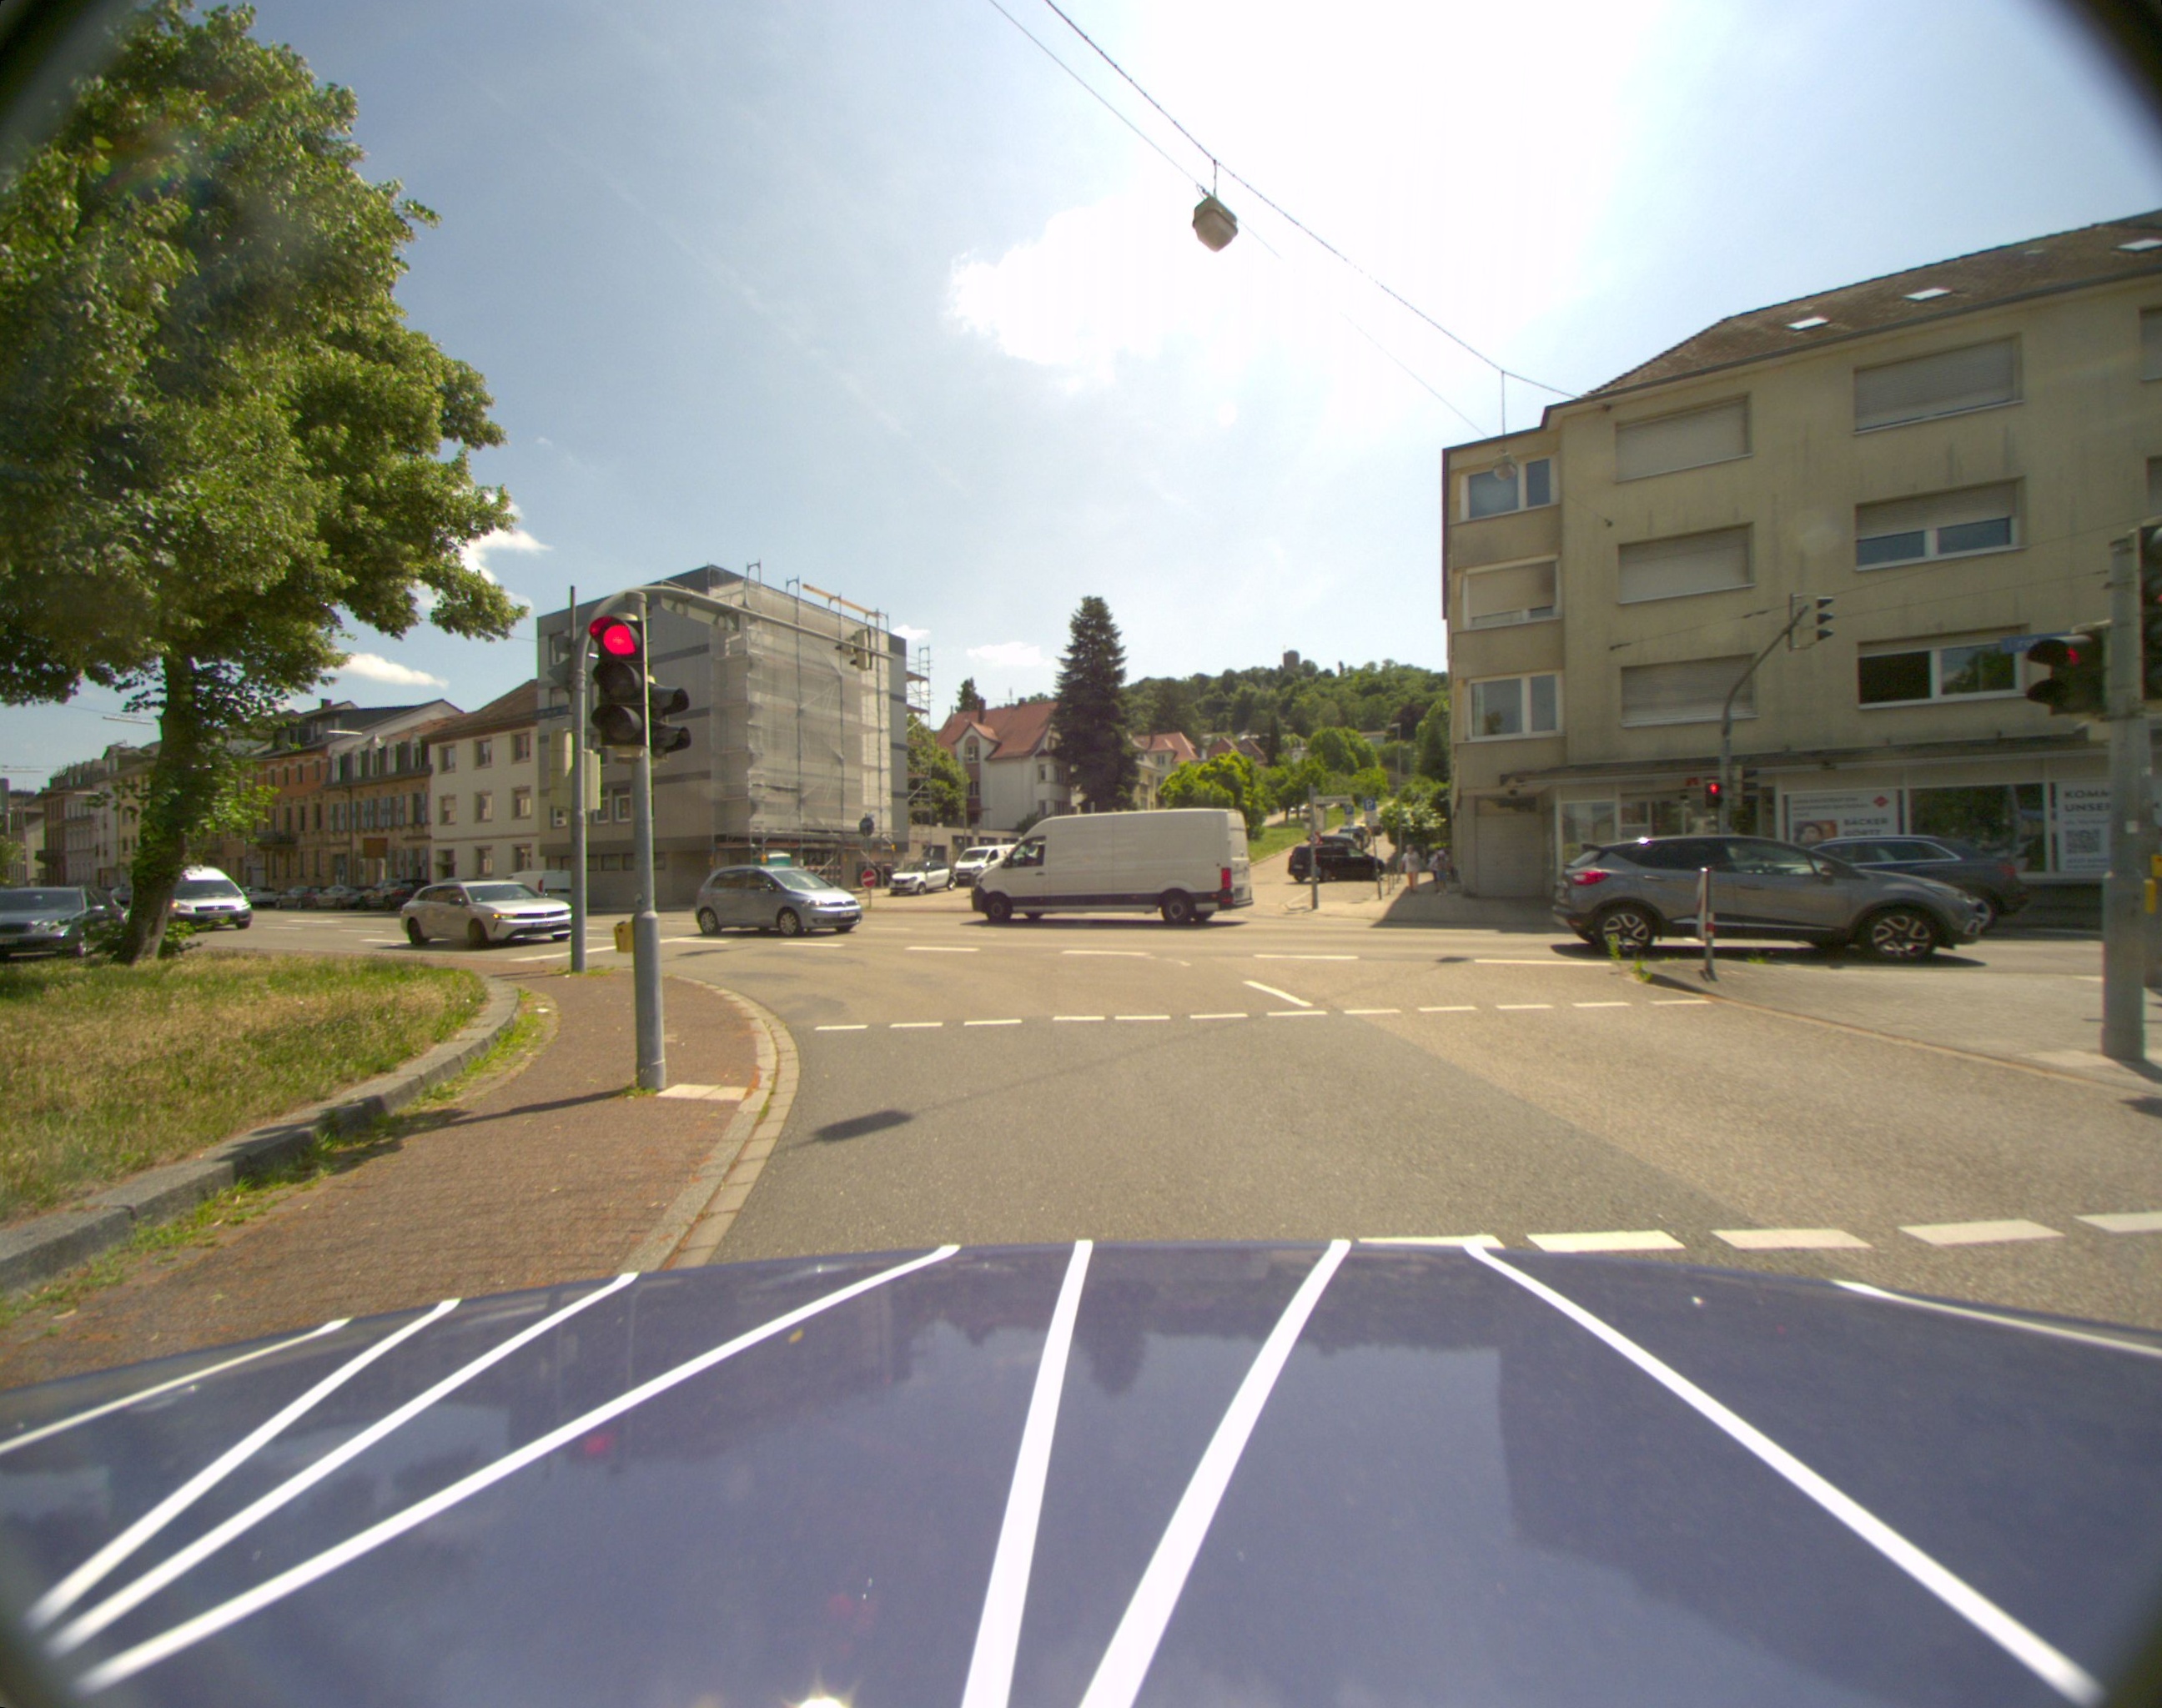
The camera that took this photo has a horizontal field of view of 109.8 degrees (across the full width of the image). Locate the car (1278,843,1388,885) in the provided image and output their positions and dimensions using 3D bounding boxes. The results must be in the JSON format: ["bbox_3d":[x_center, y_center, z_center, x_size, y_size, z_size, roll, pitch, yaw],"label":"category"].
[{"bbox_3d":[11.006,0.415,33.196,4.334,1.654,1.996,-1,0,-24],"label":"car"}]

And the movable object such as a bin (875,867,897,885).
[{"bbox_3d":[-10.281,1.165,40.119,0.824,0.921,0.742,-2,1,29],"label":"movable object such as a bin"}]

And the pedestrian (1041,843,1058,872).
[{"bbox_3d":[-1.939,0.200,46.284,0.741,1.704,0.713,-1,0,30],"label":"pedestrian"}]

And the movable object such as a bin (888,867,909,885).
[{"bbox_3d":[-9.524,1.156,39.727,0.702,0.921,0.742,-2,1,29],"label":"movable object such as a bin"}]

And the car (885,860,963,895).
[{"bbox_3d":[-7.458,1.095,36.500,1.754,1.439,3.745,-2,1,24],"label":"car"}]

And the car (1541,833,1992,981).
[{"bbox_3d":[8.479,0.623,9.916,3.990,1.622,1.762,-2,1,23],"label":"car"}]

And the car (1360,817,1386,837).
[{"bbox_3d":[25.177,-2.347,65.485,1.854,1.413,4.004,-1,4,25],"label":"car"}]

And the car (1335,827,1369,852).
[{"bbox_3d":[18.543,-1.018,51.912,1.805,1.380,4.004,-1,4,25],"label":"car"}]

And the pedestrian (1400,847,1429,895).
[{"bbox_3d":[11.511,0.590,26.183,0.820,1.623,0.805,-1,0,28],"label":"pedestrian"}]

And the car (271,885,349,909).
[{"bbox_3d":[-46.996,2.603,46.315,4.320,1.397,1.875,-1,-4,25],"label":"car"}]

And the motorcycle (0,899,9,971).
[{"bbox_3d":[-19.263,1.418,12.755,0.935,1.294,2.275,-1,-2,-41],"label":"motorcycle"}]

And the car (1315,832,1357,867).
[{"bbox_3d":[14.347,-0.280,42.615,1.805,1.607,4.004,-1,4,25],"label":"car"}]

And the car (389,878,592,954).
[{"bbox_3d":[-13.567,1.351,17.439,4.476,1.489,1.910,-1,0,27],"label":"car"}]

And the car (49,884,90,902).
[{"bbox_3d":[-93.461,3.605,70.223,3.942,1.578,1.755,-3,-5,44],"label":"car"}]

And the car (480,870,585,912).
[{"bbox_3d":[-25.198,1.680,34.892,4.776,1.814,1.924,-1,-1,26],"label":"car"}]

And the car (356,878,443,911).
[{"bbox_3d":[-36.071,2.124,40.201,4.805,1.631,1.895,-1,-2,28],"label":"car"}]

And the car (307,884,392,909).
[{"bbox_3d":[-42.082,2.441,43.684,4.825,1.397,1.875,-1,-4,25],"label":"car"}]

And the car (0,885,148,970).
[{"bbox_3d":[-21.607,1.484,15.897,1.844,1.539,5.143,0,-2,-42],"label":"car"}]

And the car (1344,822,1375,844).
[{"bbox_3d":[21.030,-1.598,57.312,1.805,1.413,4.004,-1,4,25],"label":"car"}]

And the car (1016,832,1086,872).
[{"bbox_3d":[-1.862,-0.190,48.546,2.069,2.165,5.019,-1,3,29],"label":"car"}]

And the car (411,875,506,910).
[{"bbox_3d":[-30.817,1.882,37.585,4.651,1.631,1.895,-1,-2,26],"label":"car"}]

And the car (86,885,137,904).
[{"bbox_3d":[-83.139,3.450,65.147,4.302,1.541,1.875,-1,-4,28],"label":"car"}]

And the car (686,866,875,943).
[{"bbox_3d":[-6.876,1.105,17.352,3.990,1.559,1.763,-2,0,26],"label":"car"}]

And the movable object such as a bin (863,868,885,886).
[{"bbox_3d":[-11.099,1.208,40.688,0.824,0.921,0.742,-2,1,29],"label":"movable object such as a bin"}]

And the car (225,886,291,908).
[{"bbox_3d":[-54.435,2.822,50.247,4.319,1.417,1.875,-1,-4,28],"label":"car"}]

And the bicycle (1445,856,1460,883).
[{"bbox_3d":[14.881,0.618,30.412,0.497,1.021,1.746,-2,0,26],"label":"bicycle"}]

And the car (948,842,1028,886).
[{"bbox_3d":[-4.942,0.492,41.297,1.995,2.003,5.017,-2,3,23],"label":"car"}]

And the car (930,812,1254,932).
[{"bbox_3d":[0.137,0.468,18.405,7.535,2.486,2.227,-1,-1,25],"label":"car"}]

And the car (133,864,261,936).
[{"bbox_3d":[-30.772,1.527,26.399,5.657,2.261,1.910,-1,0,31],"label":"car"}]

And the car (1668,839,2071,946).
[{"bbox_3d":[12.792,0.640,12.777,4.275,1.548,1.862,-2,-2,25],"label":"car"}]

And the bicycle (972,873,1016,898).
[{"bbox_3d":[-3.418,1.233,29.798,1.714,0.961,0.399,-2,0,23],"label":"bicycle"}]

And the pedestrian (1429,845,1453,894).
[{"bbox_3d":[12.116,0.528,25.561,0.647,1.623,0.689,-1,0,28],"label":"pedestrian"}]

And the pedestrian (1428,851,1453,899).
[{"bbox_3d":[11.332,0.649,23.928,0.647,1.467,0.689,-1,0,28],"label":"pedestrian"}]

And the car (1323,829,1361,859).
[{"bbox_3d":[16.330,-0.663,47.356,1.805,1.542,4.004,-1,4,25],"label":"car"}]
